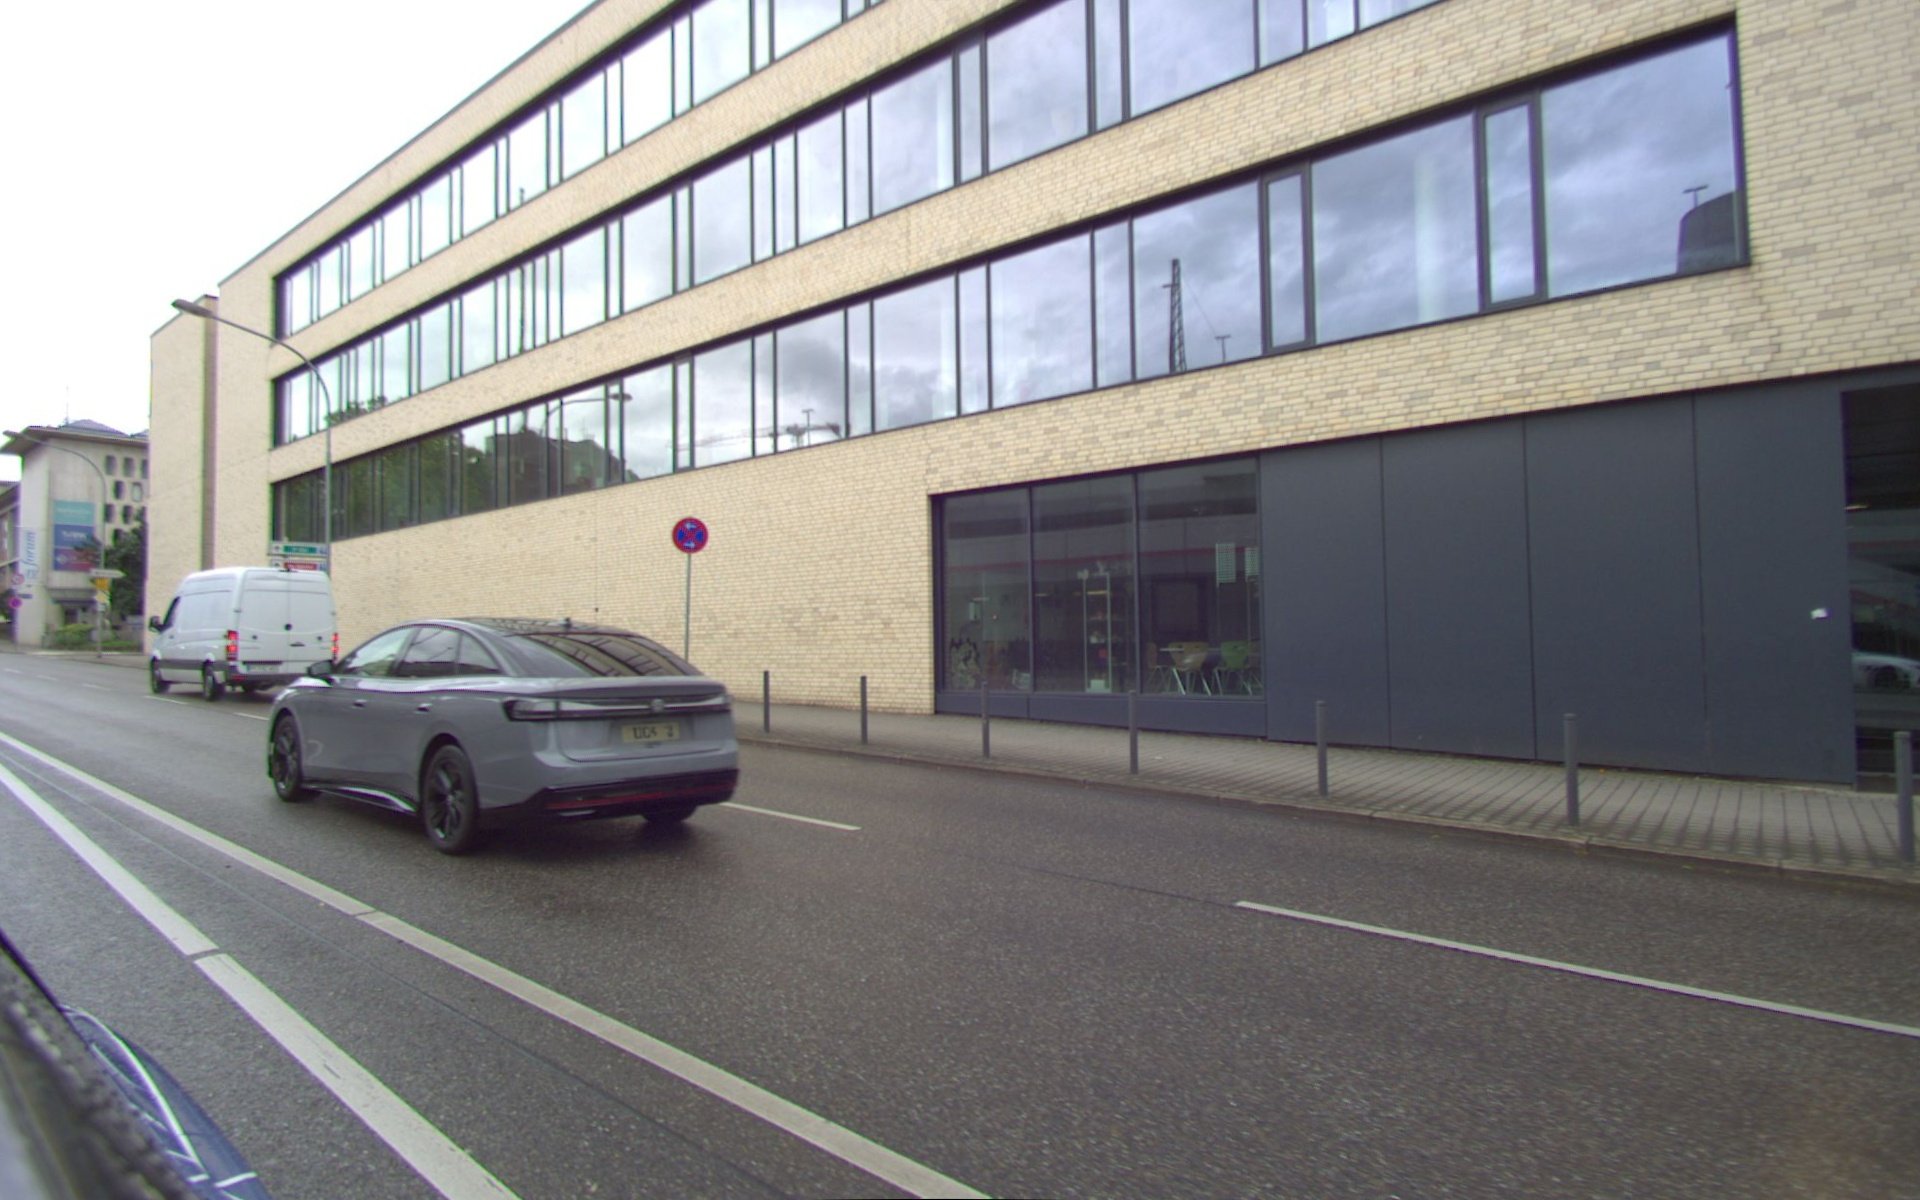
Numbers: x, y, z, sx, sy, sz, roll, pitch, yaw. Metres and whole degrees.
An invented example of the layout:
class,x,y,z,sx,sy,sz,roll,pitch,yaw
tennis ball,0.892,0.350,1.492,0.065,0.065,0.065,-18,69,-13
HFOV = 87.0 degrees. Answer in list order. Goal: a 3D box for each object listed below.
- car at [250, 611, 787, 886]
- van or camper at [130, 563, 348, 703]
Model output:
class,x,y,z,sx,sy,sz,roll,pitch,yaw
car,-3.569,0.888,7.769,4.557,1.509,1.864,-1,-3,39
van or camper,-15.428,0.704,21.516,5.900,2.602,2.082,-1,-3,38
